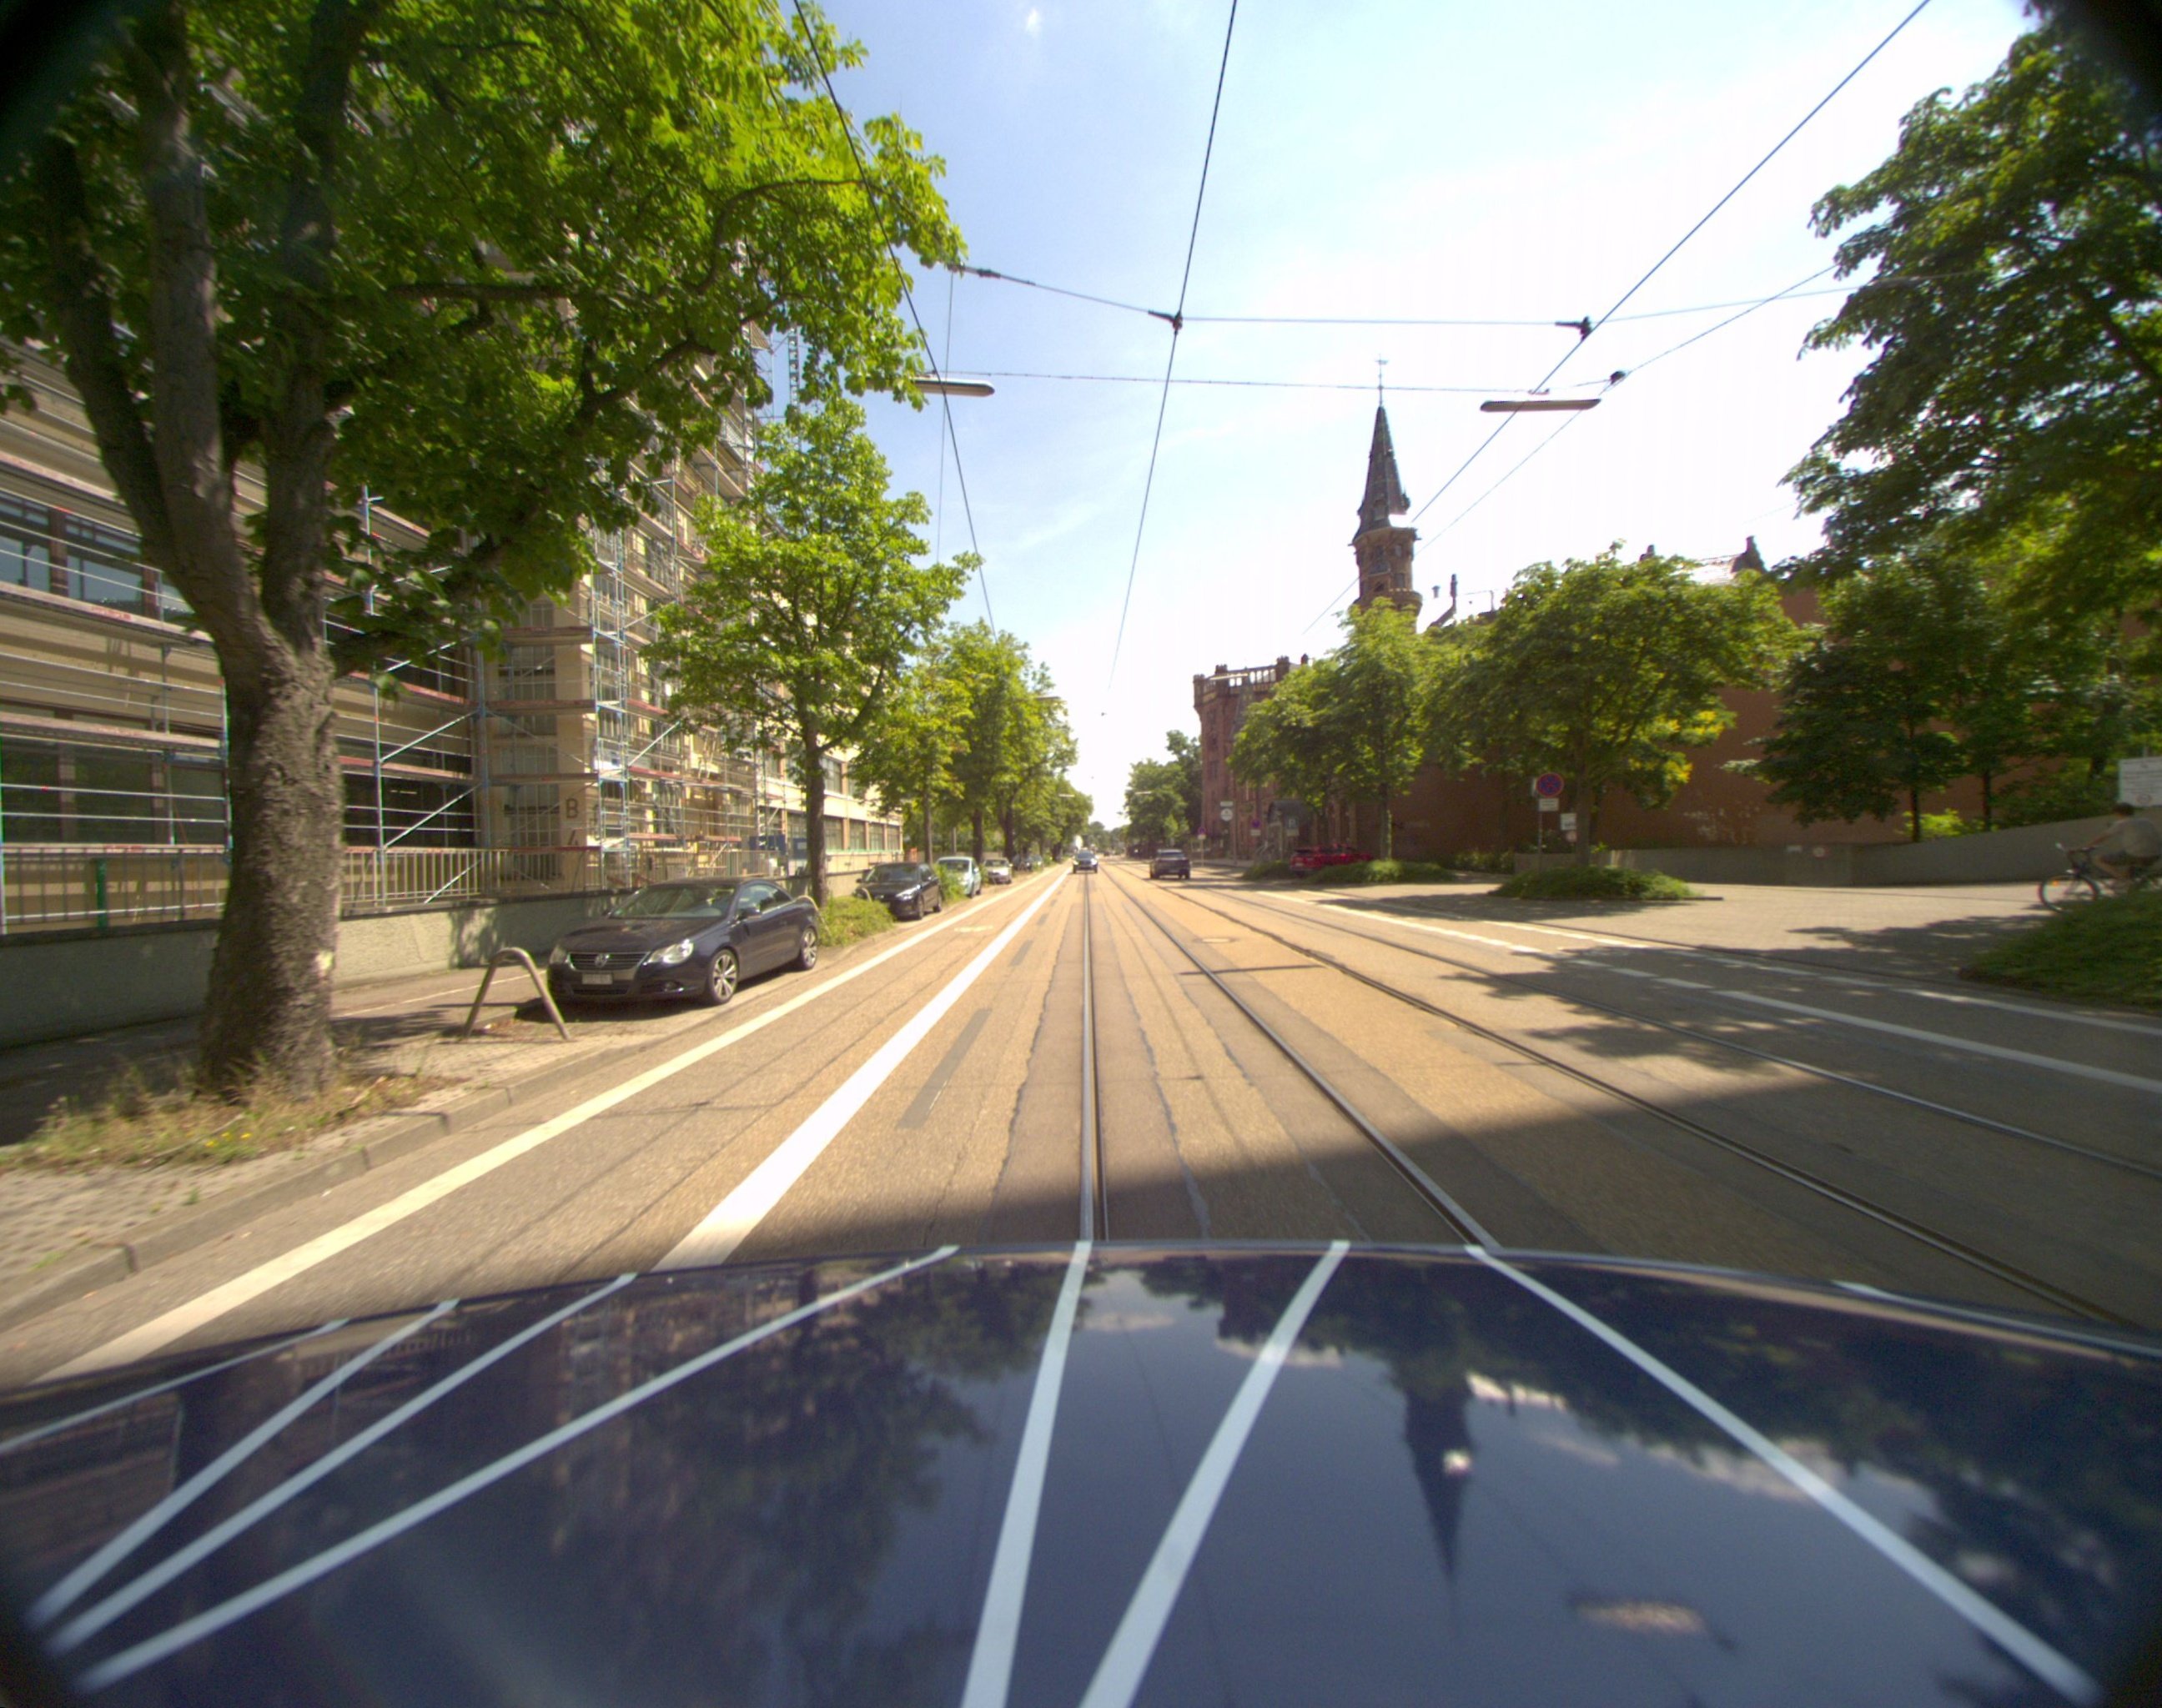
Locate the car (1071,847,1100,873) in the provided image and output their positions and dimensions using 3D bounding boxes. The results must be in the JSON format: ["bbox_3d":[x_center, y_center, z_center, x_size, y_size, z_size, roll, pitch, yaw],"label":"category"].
[{"bbox_3d":[0.317,0.400,56.065,1.998,1.731,4.226,-3,0,0],"label":"car"}]

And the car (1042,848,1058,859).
[{"bbox_3d":[-4.100,-0.074,100.539,1.756,1.263,3.833,-3,0,1],"label":"car"}]

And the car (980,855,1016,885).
[{"bbox_3d":[-4.593,0.860,42.619,1.676,1.490,4.364,-2,0,-3],"label":"car"}]

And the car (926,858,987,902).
[{"bbox_3d":[-4.791,0.948,29.661,1.675,1.509,4.201,-2,0,0],"label":"car"}]

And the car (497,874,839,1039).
[{"bbox_3d":[-4.851,1.090,9.841,1.829,1.463,4.486,-2,0,2],"label":"car"}]

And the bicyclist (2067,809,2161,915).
[{"bbox_3d":[15.108,0.106,11.050,0.482,1.473,0.780,-3,1,-2],"label":"bicyclist"}]

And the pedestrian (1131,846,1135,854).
[{"bbox_3d":[12.359,-0.946,180.996,0.750,1.738,0.919,-4,1,0],"label":"pedestrian"}]

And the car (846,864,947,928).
[{"bbox_3d":[-4.758,1.025,20.122,1.675,1.429,4.041,-2,0,0],"label":"car"}]

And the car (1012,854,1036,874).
[{"bbox_3d":[-4.639,0.794,62.209,1.675,1.481,3.980,-2,0,0],"label":"car"}]

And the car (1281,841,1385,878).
[{"bbox_3d":[12.356,0.238,37.211,4.787,1.557,1.997,-3,1,-28],"label":"car"}]

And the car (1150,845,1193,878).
[{"bbox_3d":[4.871,0.366,41.356,1.835,1.671,4.184,-2,0,1],"label":"car"}]

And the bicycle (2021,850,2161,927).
[{"bbox_3d":[15.123,0.478,11.051,0.519,1.041,1.876,-3,0,-2],"label":"bicycle"}]

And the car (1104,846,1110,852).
[{"bbox_3d":[8.285,-1.477,241.426,1.909,1.778,4.255,-2,0,0],"label":"car"}]

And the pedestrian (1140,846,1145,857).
[{"bbox_3d":[10.203,-0.346,125.729,0.723,1.781,0.919,-5,1,0],"label":"pedestrian"}]

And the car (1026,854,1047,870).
[{"bbox_3d":[-4.256,0.768,73.185,1.675,1.400,4.748,-2,0,0],"label":"car"}]
